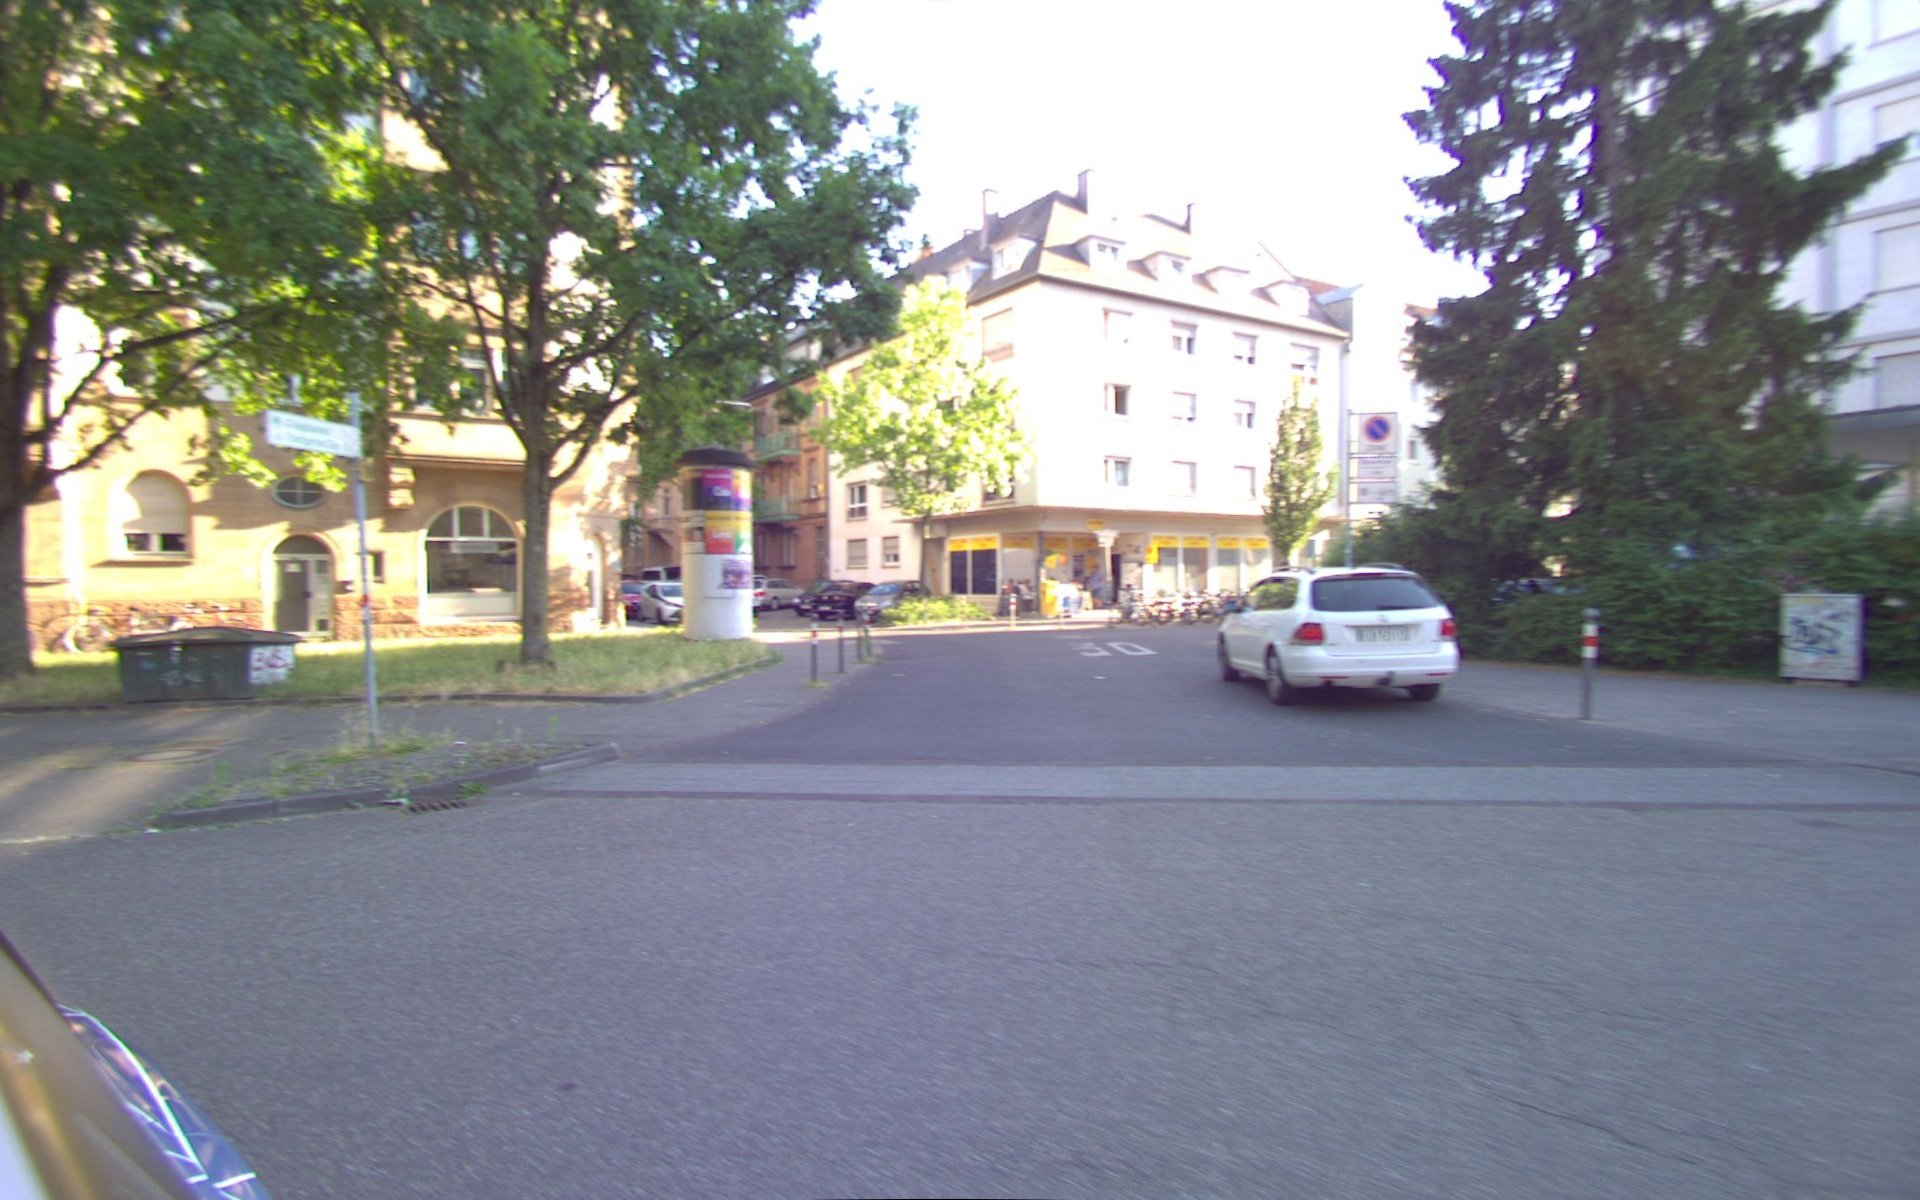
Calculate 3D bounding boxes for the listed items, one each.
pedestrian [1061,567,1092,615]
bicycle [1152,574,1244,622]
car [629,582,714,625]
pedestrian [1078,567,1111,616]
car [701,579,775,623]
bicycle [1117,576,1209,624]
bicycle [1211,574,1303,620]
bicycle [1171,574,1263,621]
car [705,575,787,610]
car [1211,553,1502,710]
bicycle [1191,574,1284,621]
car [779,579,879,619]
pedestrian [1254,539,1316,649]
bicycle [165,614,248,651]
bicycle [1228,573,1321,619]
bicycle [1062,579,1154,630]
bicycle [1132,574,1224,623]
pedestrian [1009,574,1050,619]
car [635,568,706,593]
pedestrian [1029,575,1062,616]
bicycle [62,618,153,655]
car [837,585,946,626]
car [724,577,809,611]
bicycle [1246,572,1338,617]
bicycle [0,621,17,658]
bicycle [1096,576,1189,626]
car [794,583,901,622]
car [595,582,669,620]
[{"bbox_3d":[4.612,-0.369,40.114,0.876,1.889,0.854,-1,1,-33],"label":"pedestrian"},{"bbox_3d":[7.871,-0.111,33.721,0.866,1.456,3.390,-1,3,-30],"label":"bicycle"},{"bbox_3d":[-10.215,0.092,35.645,1.842,1.410,4.012,-1,1,-32],"label":"car"},{"bbox_3d":[5.230,-0.339,39.372,0.876,1.889,0.854,-1,1,-33],"label":"pedestrian"},{"bbox_3d":[-9.231,0.017,41.807,1.909,1.659,4.548,-1,1,-27],"label":"car"},{"bbox_3d":[6.420,-0.034,32.294,0.866,1.456,3.390,-1,2,-30],"label":"bicycle"},{"bbox_3d":[10.224,-0.150,35.038,0.866,1.456,3.390,-1,3,-30],"label":"bicycle"},{"bbox_3d":[8.621,-0.118,34.124,0.866,1.456,3.390,-1,3,-30],"label":"bicycle"},{"bbox_3d":[-10.578,-0.403,50.265,1.864,1.648,3.963,0,1,27],"label":"car"},{"bbox_3d":[4.338,0.282,11.886,1.898,1.461,4.291,-2,1,3],"label":"car"},{"bbox_3d":[9.415,-0.132,34.566,0.866,1.456,3.390,-1,3,-30],"label":"bicycle"},{"bbox_3d":[-5.479,-0.074,42.682,1.873,1.580,3.944,0,1,42],"label":"car"},{"bbox_3d":[6.221,-0.116,19.402,0.851,2.029,0.986,-1,1,0],"label":"pedestrian"},{"bbox_3d":[-17.191,0.734,23.115,1.485,0.737,0.370,-3,2,-35],"label":"bicycle"},{"bbox_3d":[10.997,-0.178,35.570,0.866,1.456,3.390,-1,3,-30],"label":"bicycle"},{"bbox_3d":[4.467,0.091,30.909,0.866,1.456,3.390,-1,2,-30],"label":"bicycle"},{"bbox_3d":[7.100,-0.076,33.175,0.866,1.456,3.390,-1,3,-30],"label":"bicycle"},{"bbox_3d":[2.657,-0.151,38.781,1.194,1.679,0.966,-1,1,-33],"label":"pedestrian"},{"bbox_3d":[-17.027,-1.131,59.706,1.864,1.410,3.963,0,1,27],"label":"car"},{"bbox_3d":[3.370,-0.166,39.864,0.947,1.581,0.894,-1,1,-32],"label":"pedestrian"},{"bbox_3d":[-18.686,0.785,22.221,1.485,0.737,0.370,-1,1,-35],"label":"bicycle"},{"bbox_3d":[-2.502,0.171,37.890,1.872,1.410,3.947,0,1,40],"label":"car"},{"bbox_3d":[-9.035,-0.308,47.509,1.864,1.516,3.963,0,1,27],"label":"car"},{"bbox_3d":[11.792,-0.225,36.096,0.866,1.456,3.390,-1,3,-30],"label":"bicycle"},{"bbox_3d":[-20.407,0.832,20.766,1.485,0.737,0.370,-1,1,-35],"label":"bicycle"},{"bbox_3d":[5.627,-0.014,31.540,0.866,1.456,3.390,-1,2,-30],"label":"bicycle"},{"bbox_3d":[-4.343,0.078,39.549,1.872,1.410,3.947,0,1,40],"label":"car"},{"bbox_3d":[-12.917,0.018,39.749,1.842,1.410,4.012,-1,1,-32],"label":"car"}]
